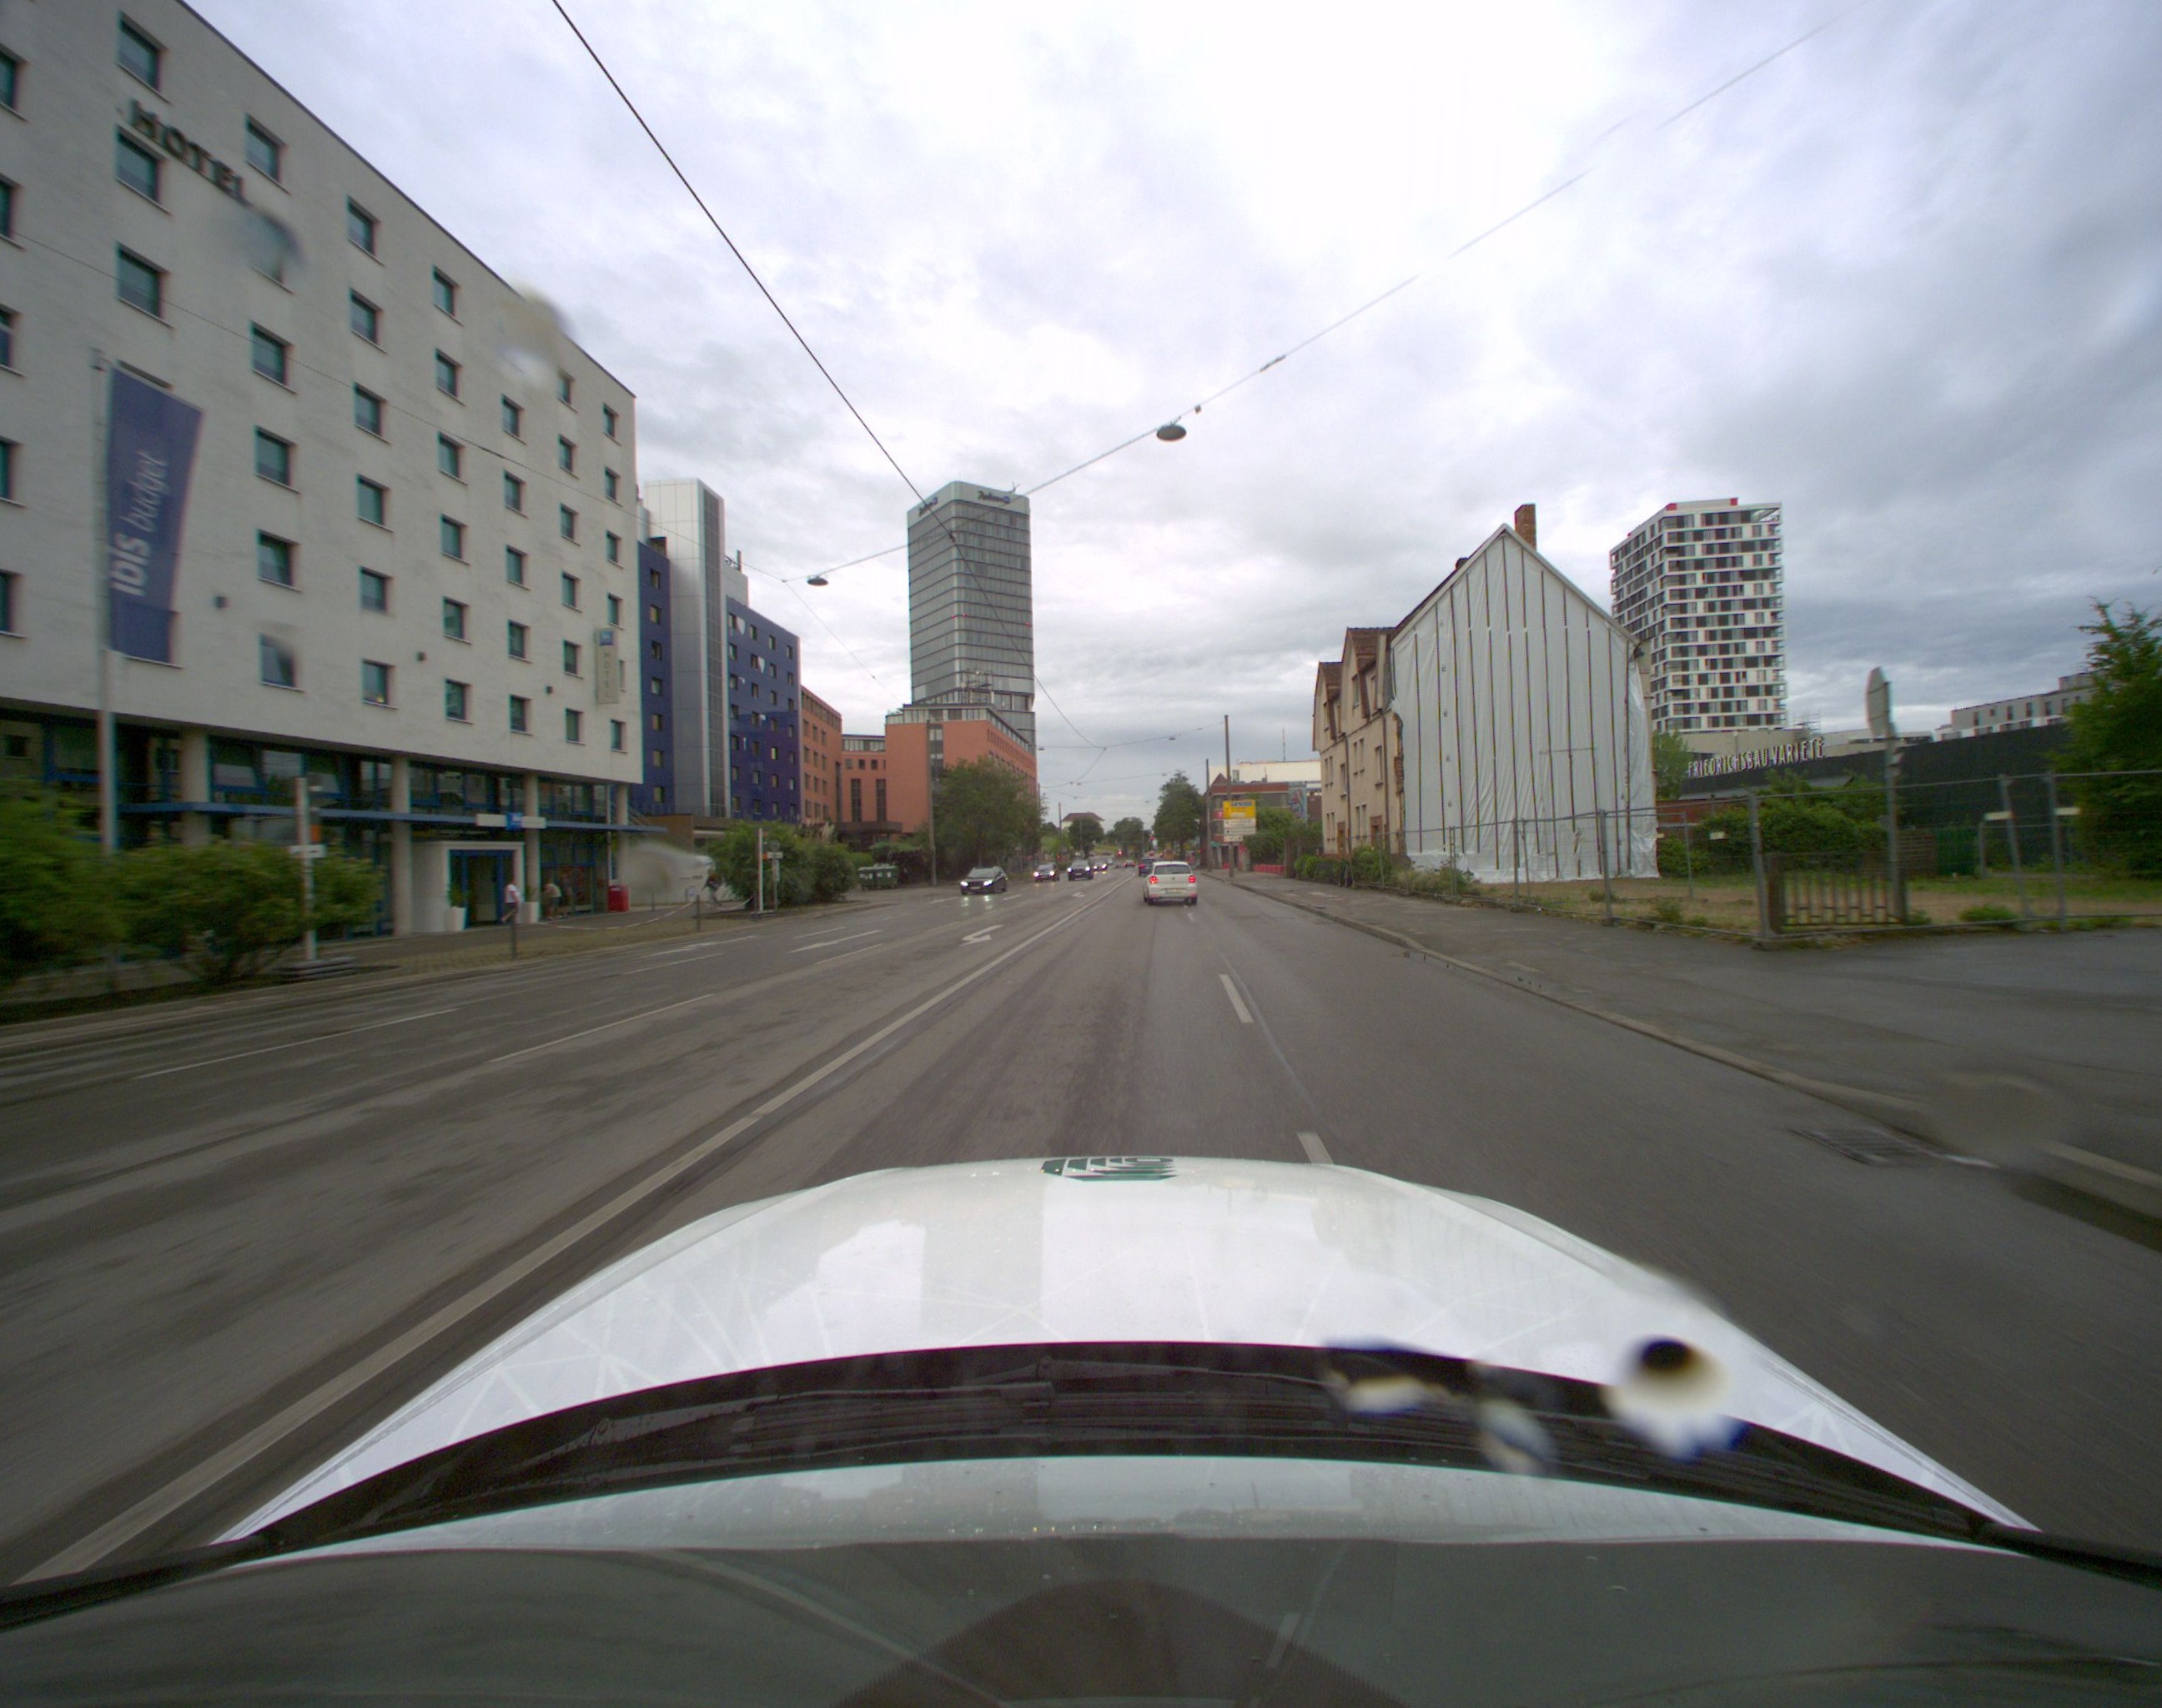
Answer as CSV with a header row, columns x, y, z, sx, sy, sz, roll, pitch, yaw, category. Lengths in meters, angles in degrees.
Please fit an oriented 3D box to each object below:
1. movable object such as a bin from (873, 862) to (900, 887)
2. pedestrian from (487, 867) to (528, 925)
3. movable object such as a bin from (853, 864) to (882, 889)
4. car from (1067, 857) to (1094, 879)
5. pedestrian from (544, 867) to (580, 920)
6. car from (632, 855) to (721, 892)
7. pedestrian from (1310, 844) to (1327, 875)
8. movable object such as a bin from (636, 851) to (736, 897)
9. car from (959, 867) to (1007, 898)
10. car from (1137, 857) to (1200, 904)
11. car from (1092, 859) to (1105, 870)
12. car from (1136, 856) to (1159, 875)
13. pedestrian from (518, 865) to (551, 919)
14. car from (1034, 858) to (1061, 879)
x,y,z,sx,sy,sz,roll,pitch,yaw,category
-12.137,1.290,50.836,1.388,1.491,0.950,-4,-2,-5,movable object such as a bin
-20.612,1.509,29.265,0.798,2.014,0.816,-4,-2,6,pedestrian
-13.539,1.406,51.661,1.379,1.491,0.955,-5,-3,16,movable object such as a bin
-0.010,1.167,68.712,1.748,1.555,4.456,-4,1,5,car
-20.808,1.581,32.651,0.804,2.014,0.907,-6,-3,34,pedestrian
-26.105,1.276,52.642,4.690,2.014,1.895,-4,-2,5,car
13.522,0.302,46.318,0.904,1.764,0.771,-1,0,17,pedestrian
-26.632,1.367,54.979,5.599,2.628,2.164,-4,-2,4,movable object such as a bin
-5.320,1.541,44.869,1.726,1.477,4.703,-3,0,4,car
2.977,0.873,28.319,1.666,1.474,3.777,-2,0,-1,car
2.584,1.533,120.510,1.651,1.486,3.825,-2,0,5,car
6.133,1.018,74.671,1.983,1.574,4.007,-2,0,6,car
-20.982,1.455,31.270,0.816,2.014,0.798,-3,-3,-23,pedestrian
-2.827,1.192,69.562,1.700,1.566,4.040,-4,0,5,car
